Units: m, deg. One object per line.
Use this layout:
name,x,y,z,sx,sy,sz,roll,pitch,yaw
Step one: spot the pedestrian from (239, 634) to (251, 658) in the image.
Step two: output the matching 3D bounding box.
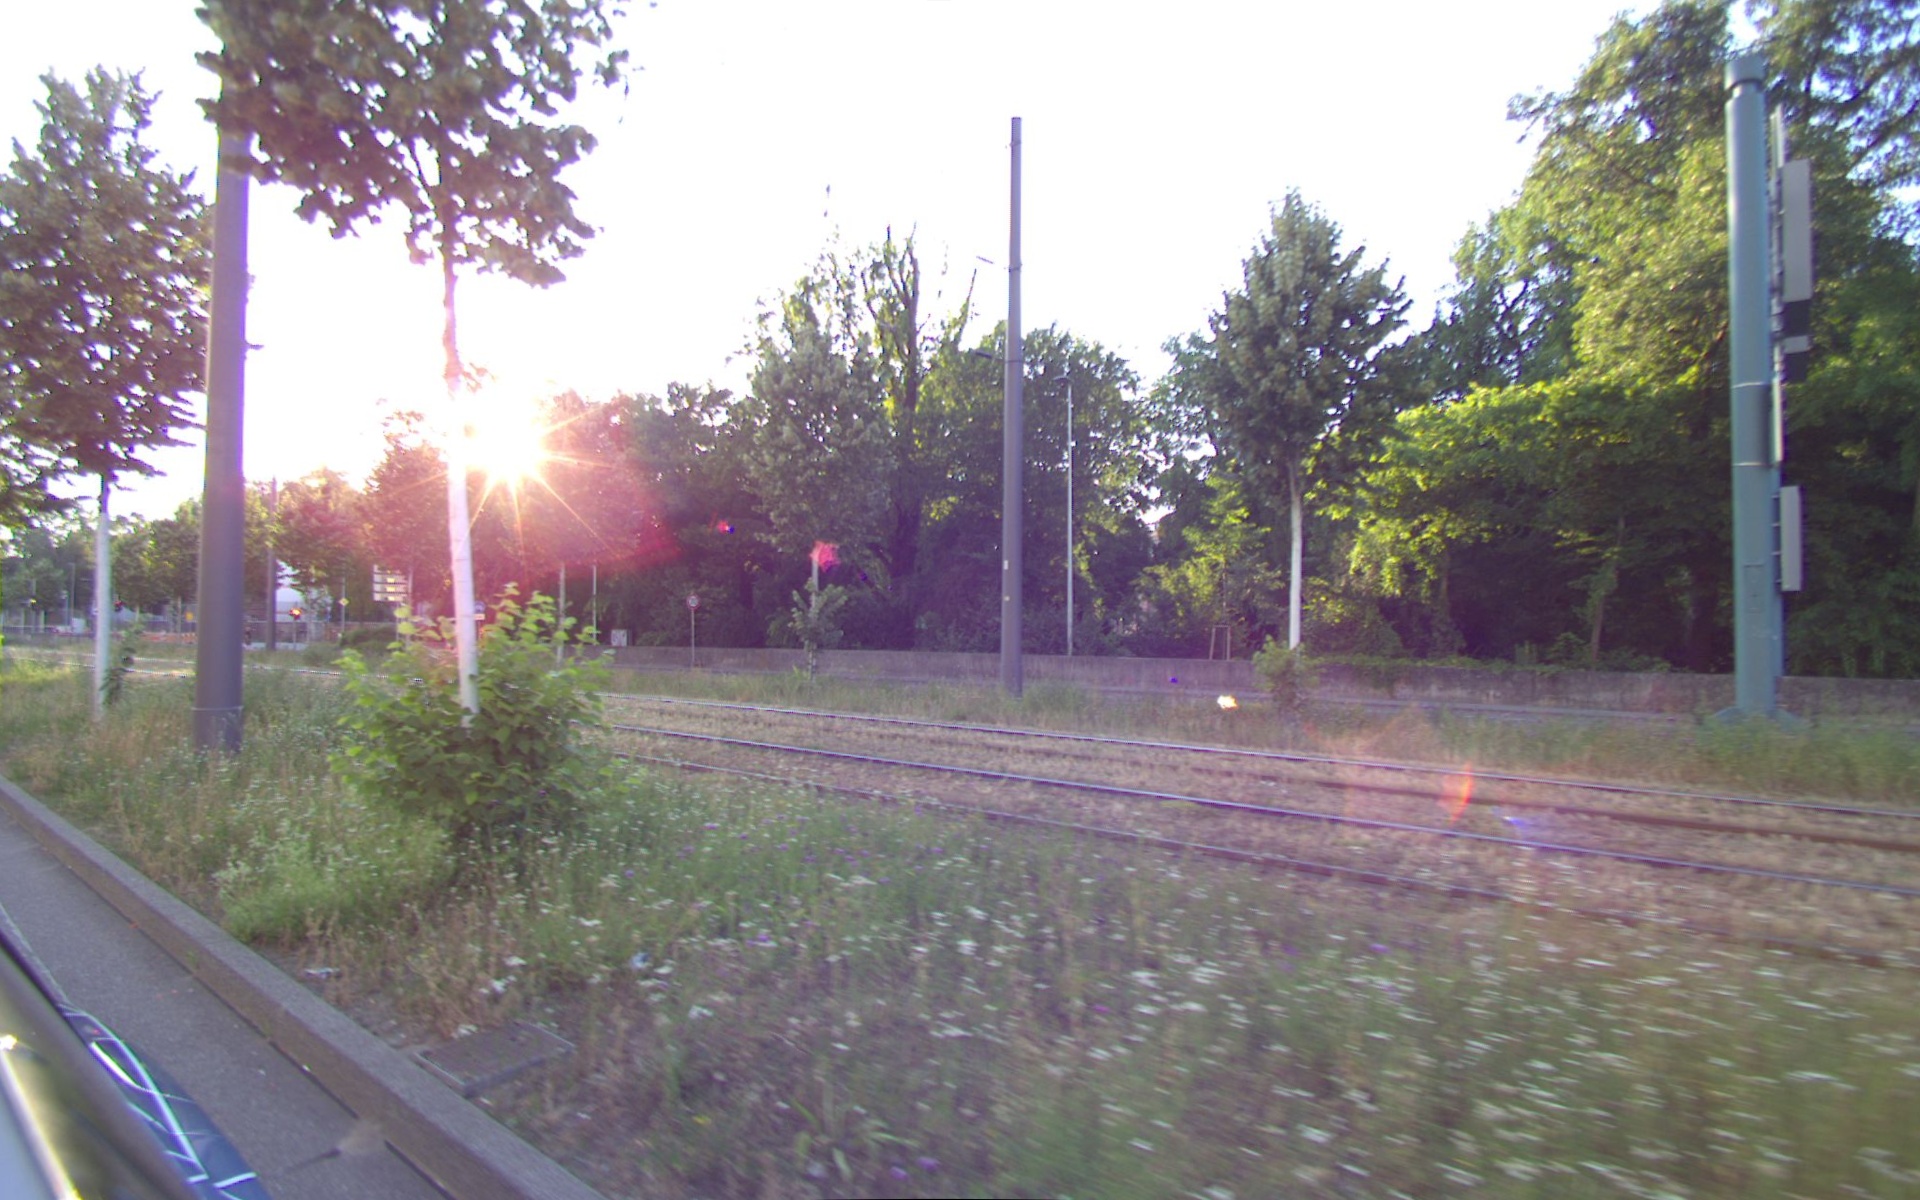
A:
pedestrian,-49.268,3.168,69.765,0.660,1.620,0.679,-1,-5,-36
